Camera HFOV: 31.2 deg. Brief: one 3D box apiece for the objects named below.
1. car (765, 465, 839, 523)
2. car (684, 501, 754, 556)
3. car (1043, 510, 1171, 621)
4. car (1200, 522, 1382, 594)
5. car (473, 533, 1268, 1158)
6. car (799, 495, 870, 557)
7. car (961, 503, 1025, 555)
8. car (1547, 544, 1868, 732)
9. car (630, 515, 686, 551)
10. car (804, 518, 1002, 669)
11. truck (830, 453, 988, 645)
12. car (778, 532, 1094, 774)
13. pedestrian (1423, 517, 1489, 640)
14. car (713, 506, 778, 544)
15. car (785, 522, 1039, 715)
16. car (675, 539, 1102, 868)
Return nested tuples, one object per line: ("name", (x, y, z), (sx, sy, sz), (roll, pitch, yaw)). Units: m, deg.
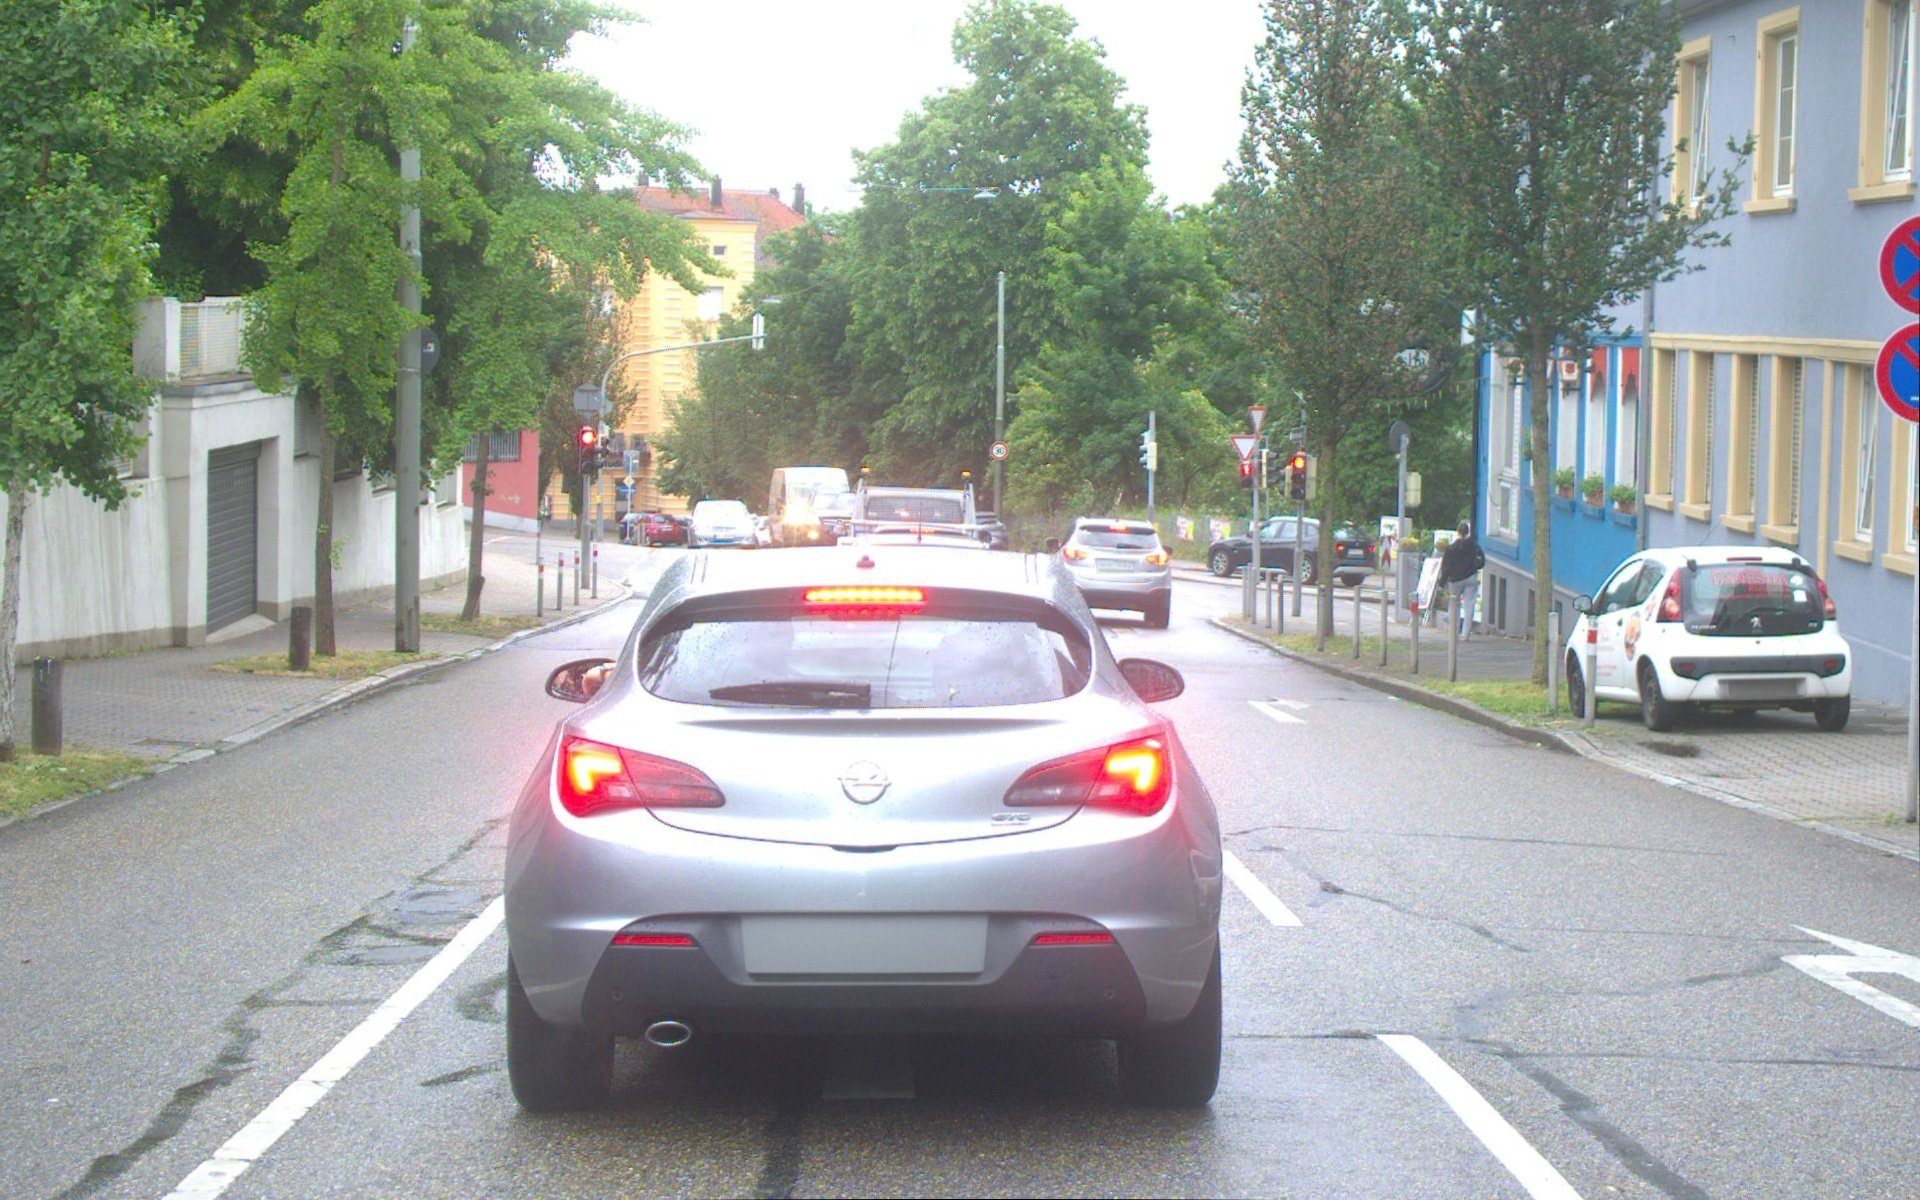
("car", (-4.615, -3.070, 100.226), (1.722, 1.632, 3.881), (0, 1, -9))
("car", (-6.474, -1.923, 92.587), (1.722, 1.455, 3.880), (0, 1, -2))
("car", (2.324, -0.573, 55.132), (1.722, 1.708, 3.880), (0, 1, -2))
("car", (7.678, -0.988, 79.916), (3.875, 1.632, 1.724), (1, 1, 37))
("car", (-0.289, 0.542, 9.984), (1.837, 1.429, 3.880), (1, 1, -2))
("car", (-3.380, -1.982, 92.606), (1.870, 1.632, 3.880), (0, 1, -2))
("car", (1.018, -2.256, 108.899), (1.722, 1.632, 3.880), (0, 1, -4))
("car", (6.155, 0.265, 28.707), (1.722, 1.443, 3.880), (0, 1, -2))
("car", (-13.905, -3.083, 158.104), (1.722, 1.632, 3.881), (0, 1, -18))
("car", (-0.642, -0.116, 37.105), (1.962, 1.443, 4.306), (2, 1, -2))
("truck", (-0.731, -0.730, 47.097), (1.962, 2.420, 4.936), (2, 1, -2))
("car", (-0.215, 0.299, 24.068), (1.962, 1.443, 4.306), (2, 1, -2))
("pedestrian", (7.129, -0.316, 49.478), (0.783, 1.723, 0.651), (2, 1, 0))
("car", (-8.699, -3.044, 139.334), (1.722, 1.538, 3.881), (0, 1, -18))
("car", (-0.445, 0.100, 29.446), (1.962, 1.443, 4.306), (2, 1, -2))
("car", (-0.402, 0.451, 18.348), (1.962, 1.443, 4.306), (2, 1, -2))
